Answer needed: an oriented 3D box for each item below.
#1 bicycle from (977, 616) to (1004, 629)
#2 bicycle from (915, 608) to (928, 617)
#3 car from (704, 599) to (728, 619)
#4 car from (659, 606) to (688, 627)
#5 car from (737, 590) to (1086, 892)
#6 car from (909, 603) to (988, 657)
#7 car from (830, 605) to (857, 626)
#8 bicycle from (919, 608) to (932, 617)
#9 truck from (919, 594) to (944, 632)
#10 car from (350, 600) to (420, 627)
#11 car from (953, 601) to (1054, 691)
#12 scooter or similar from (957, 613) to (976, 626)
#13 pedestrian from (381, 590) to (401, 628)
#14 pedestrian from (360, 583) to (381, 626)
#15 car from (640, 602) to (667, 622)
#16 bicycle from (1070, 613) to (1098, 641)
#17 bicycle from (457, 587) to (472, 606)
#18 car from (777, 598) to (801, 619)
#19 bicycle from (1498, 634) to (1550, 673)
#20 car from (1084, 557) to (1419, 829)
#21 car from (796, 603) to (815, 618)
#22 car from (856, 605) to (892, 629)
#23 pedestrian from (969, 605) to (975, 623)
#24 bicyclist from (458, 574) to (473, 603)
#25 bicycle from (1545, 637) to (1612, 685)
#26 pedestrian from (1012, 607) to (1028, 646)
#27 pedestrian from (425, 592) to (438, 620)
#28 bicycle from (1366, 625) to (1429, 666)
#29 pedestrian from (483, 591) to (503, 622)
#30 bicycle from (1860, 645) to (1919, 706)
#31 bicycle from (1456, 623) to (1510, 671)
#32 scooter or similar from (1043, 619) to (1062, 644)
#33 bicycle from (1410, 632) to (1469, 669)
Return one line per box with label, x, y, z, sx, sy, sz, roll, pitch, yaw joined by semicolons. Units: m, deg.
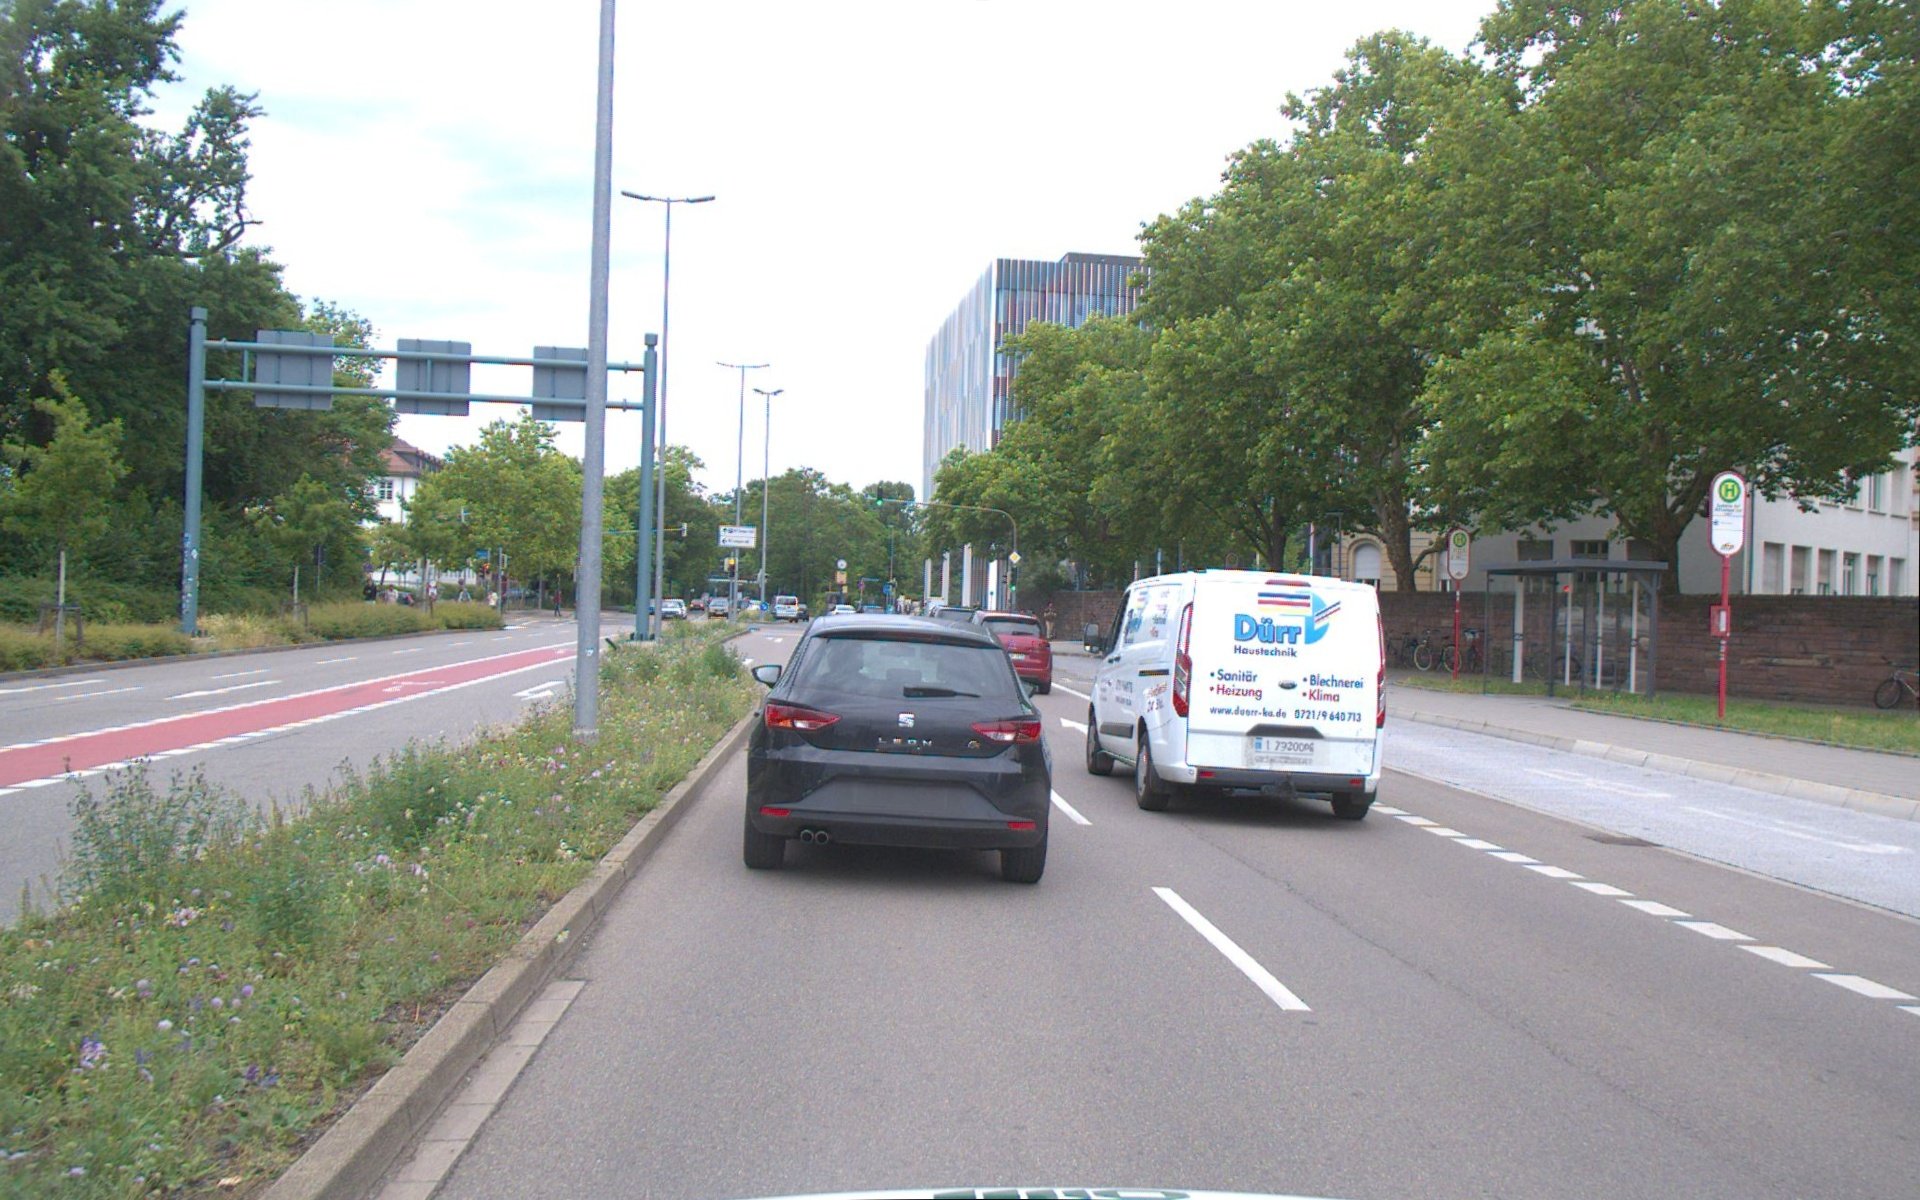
bicycle;2.207;1.600;119.748;1.862;0.914;0.692;0;0;-26
bicycle;-3.979;1.340;172.284;1.243;0.863;0.478;5;-2;-27
car;-18.648;0.708;126.455;1.731;1.486;4.780;0;-1;-9
car;-19.763;1.127;114.108;1.576;1.405;3.805;0;0;-4
car;-0.264;0.750;10.361;1.717;1.457;3.768;3;-1;-1
car;-0.420;0.950;54.497;1.880;1.693;4.103;0;0;-11
car;-8.021;1.029;113.665;1.585;1.378;3.993;0;0;-8
bicycle;-3.511;1.317;169.878;1.220;0.837;0.478;5;-2;-27
truck;-1.756;0.785;100.214;1.292;2.282;3.398;0;0;-5
car;-33.336;0.779;95.990;3.589;1.244;1.561;2;7;-11
car;0.861;0.913;34.402;1.909;1.652;3.749;3;0;0
scooter or similar;0.570;1.673;141.836;1.658;1.126;0.492;0;0;-36
pedestrian;-24.900;0.386;72.404;0.686;1.664;0.671;0;0;-5
pedestrian;-23.876;0.183;67.014;0.608;1.759;0.817;0;0;-5
car;-27.355;1.089;147.706;1.869;1.747;3.996;0;0;-4
bicycle;5.478;1.197;73.063;0.788;1.194;1.950;-1;0;-9
bicycle;-29.486;-0.203;98.442;0.657;1.081;1.608;4;-2;-23
car;-12.521;0.601;120.927;1.663;1.530;4.003;0;0;-8
bicycle;14.734;1.399;43.247;0.410;0.959;1.515;0;0;-22
car;2.435;0.733;15.028;1.928;2.006;4.340;3;0;-4
car;-12.828;0.895;137.474;1.477;1.214;3.157;0;0;-8
car;-5.247;1.039;100.251;1.863;1.378;3.876;0;0;-8
pedestrian;0.984;1.115;132.226;0.462;1.385;0.446;0;0;6
bicyclist;-29.449;-0.680;98.415;0.657;1.664;0.954;4;-2;-23
bicycle;15.289;1.499;40.904;0.589;1.124;1.642;0;0;-24
pedestrian;2.752;1.196;75.614;0.453;1.769;0.547;0;0;-43
pedestrian;-30.703;0.369;96.110;0.563;1.553;0.841;2;-5;-28
bicycle;12.733;1.314;48.184;0.712;1.119;1.771;0;0;-33
pedestrian;-27.309;0.391;96.765;0.836;1.770;0.817;4;-6;-43
bicycle;19.153;1.519;33.364;0.587;1.156;1.696;0;0;-30
bicycle;14.145;1.270;44.744;0.492;1.243;1.616;0;0;-22
scooter or similar;4.464;1.526;80.004;0.423;1.200;1.704;0;0;20
bicycle;13.456;1.402;46.422;0.644;0.968;1.758;0;0;-22
